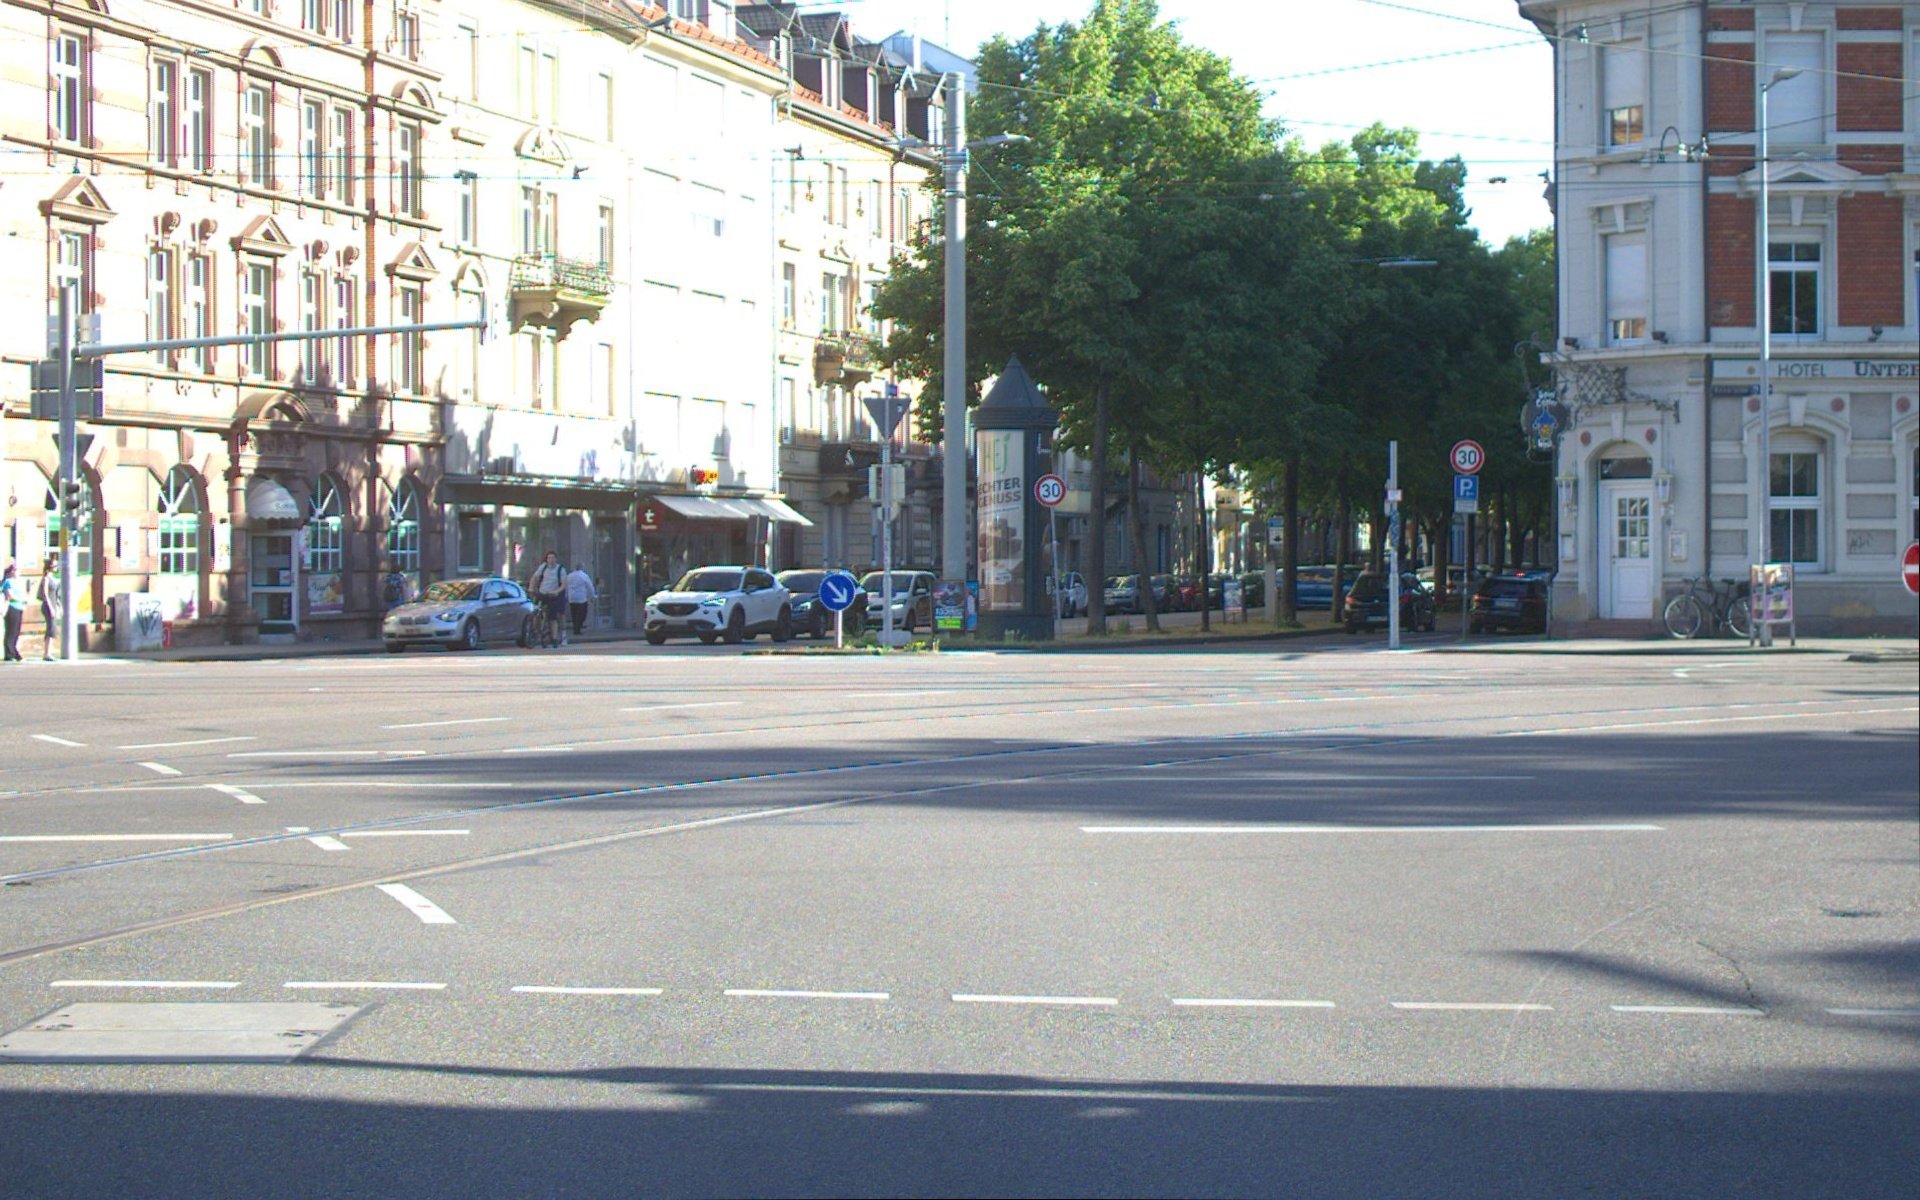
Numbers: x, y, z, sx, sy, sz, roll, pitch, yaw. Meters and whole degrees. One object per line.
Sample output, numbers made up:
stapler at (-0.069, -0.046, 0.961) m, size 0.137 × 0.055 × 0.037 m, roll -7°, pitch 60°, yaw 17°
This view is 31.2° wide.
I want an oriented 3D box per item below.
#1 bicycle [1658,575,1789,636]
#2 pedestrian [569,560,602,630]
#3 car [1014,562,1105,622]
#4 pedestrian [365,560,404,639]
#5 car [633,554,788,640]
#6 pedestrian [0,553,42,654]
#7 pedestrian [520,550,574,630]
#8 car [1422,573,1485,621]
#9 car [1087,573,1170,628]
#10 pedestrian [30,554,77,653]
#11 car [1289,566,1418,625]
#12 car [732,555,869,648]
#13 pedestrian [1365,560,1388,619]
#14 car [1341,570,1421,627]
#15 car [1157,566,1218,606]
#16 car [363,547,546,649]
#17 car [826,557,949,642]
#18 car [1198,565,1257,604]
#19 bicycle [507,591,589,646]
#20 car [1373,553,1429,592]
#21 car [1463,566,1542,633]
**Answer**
bicycle at (12.671, 0.096, 57.087) m, size 2.049 × 0.994 × 0.630 m, roll 0°, pitch 0°, yaw 3°
pedestrian at (-8.717, -0.122, 80.010) m, size 0.544 × 1.626 × 0.706 m, roll 1°, pitch 0°, yaw 13°
car at (3.279, -0.282, 112.710) m, size 1.995 × 1.897 × 3.997 m, roll 1°, pitch 1°, yaw 17°
pedestrian at (-11.874, -0.009, 70.917) m, size 0.544 × 1.626 × 0.706 m, roll 1°, pitch 0°, yaw 13°
car at (-4.848, -0.071, 67.294) m, size 1.994 × 1.612 × 3.998 m, roll 1°, pitch 1°, yaw 11°
pedestrian at (-15.337, 0.053, 55.912) m, size 0.633 × 1.628 × 0.701 m, roll 1°, pitch 0°, yaw -4°
pedestrian at (-7.833, -0.191, 65.215) m, size 0.821 × 1.507 × 0.598 m, roll 1°, pitch 0°, yaw 15°
car at (16.292, -0.120, 113.369) m, size 1.772 × 1.525 × 3.998 m, roll 1°, pitch 1°, yaw 12°
car at (6.013, 0.004, 122.384) m, size 1.995 × 1.897 × 3.997 m, roll 1°, pitch 1°, yaw 17°
pedestrian at (-15.089, 0.057, 57.234) m, size 0.633 × 1.628 × 0.701 m, roll 1°, pitch 0°, yaw -4°
car at (13.160, -0.169, 114.980) m, size 3.990 × 1.897 × 1.998 m, roll 1°, pitch 0°, yaw 16°
car at (-3.390, 0.015, 73.877) m, size 1.994 × 1.897 × 3.998 m, roll 1°, pitch 1°, yaw 11°
pedestrian at (12.751, -0.316, 105.285) m, size 0.640 × 1.790 × 0.490 m, roll 1°, pitch 0°, yaw 12°
car at (10.471, -0.053, 85.331) m, size 1.754 × 1.357 × 3.854 m, roll 1°, pitch 1°, yaw 10°
car at (8.754, -0.544, 132.030) m, size 1.560 × 1.508 × 3.653 m, roll 1°, pitch 1°, yaw 17°
car at (-9.818, -0.049, 67.074) m, size 1.995 × 1.897 × 3.997 m, roll 1°, pitch 1°, yaw 17°
car at (-1.645, -0.019, 79.722) m, size 1.994 × 1.897 × 3.998 m, roll 1°, pitch 1°, yaw 11°
car at (10.591, -0.608, 136.110) m, size 1.560 × 1.508 × 3.653 m, roll 1°, pitch 1°, yaw 17°
bicycle at (-7.819, 0.336, 65.294) m, size 0.763 × 1.004 × 2.395 m, roll 1°, pitch 1°, yaw 13°
car at (17.286, -1.075, 134.733) m, size 1.560 × 1.508 × 3.653 m, roll 1°, pitch 1°, yaw 17°
car at (13.064, -0.032, 82.598) m, size 1.692 × 1.559 × 3.839 m, roll 1°, pitch 1°, yaw 11°
